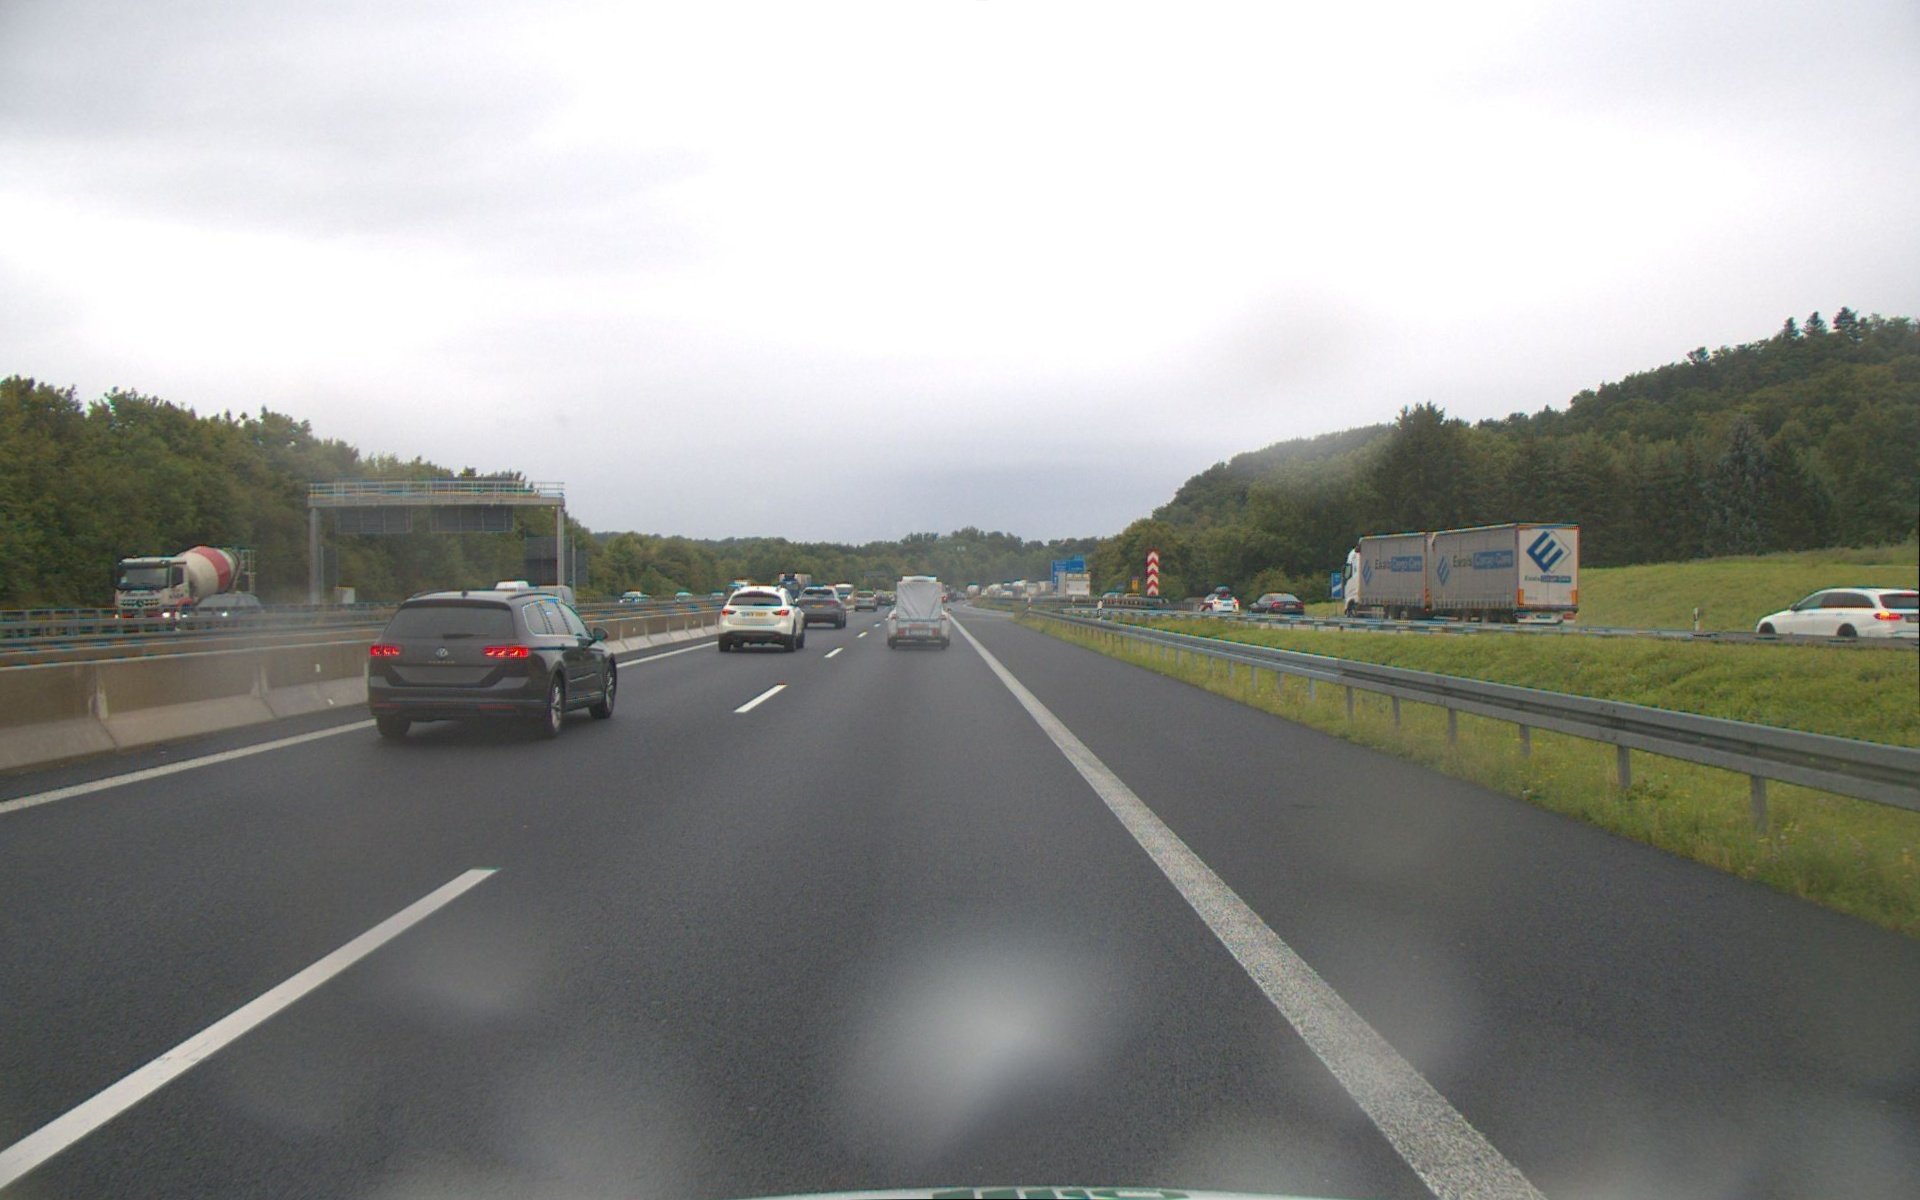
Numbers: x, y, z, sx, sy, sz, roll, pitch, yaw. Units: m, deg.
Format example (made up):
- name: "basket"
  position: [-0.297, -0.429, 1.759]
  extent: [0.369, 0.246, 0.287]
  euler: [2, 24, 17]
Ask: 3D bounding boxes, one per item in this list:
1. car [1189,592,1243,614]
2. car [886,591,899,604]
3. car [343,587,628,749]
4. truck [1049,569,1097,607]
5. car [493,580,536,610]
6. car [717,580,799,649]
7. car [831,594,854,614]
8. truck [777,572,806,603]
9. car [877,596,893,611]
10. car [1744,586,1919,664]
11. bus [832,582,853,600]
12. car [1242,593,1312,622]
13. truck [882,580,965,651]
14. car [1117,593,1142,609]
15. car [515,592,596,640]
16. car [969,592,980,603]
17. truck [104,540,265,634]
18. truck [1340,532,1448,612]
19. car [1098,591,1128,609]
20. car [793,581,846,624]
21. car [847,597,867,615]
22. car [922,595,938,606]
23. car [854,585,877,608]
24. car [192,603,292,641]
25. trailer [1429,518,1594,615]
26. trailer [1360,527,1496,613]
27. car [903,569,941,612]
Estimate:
- name: "car"
  position: [16.413, 0.182, 106.220]
  extent: [1.949, 1.401, 5.068]
  euler: [0, 0, -9]
- name: "car"
  position: [-8.724, -0.292, 213.736]
  extent: [1.612, 1.601, 3.999]
  euler: [1, 0, -1]
- name: "car"
  position: [-4.886, 0.624, 17.769]
  extent: [1.751, 1.484, 4.801]
  euler: [1, 0, -1]
- name: "truck"
  position: [11.688, -1.209, 171.779]
  extent: [3.750, 3.723, 8.264]
  euler: [1, 0, -5]
- name: "car"
  position: [-34.672, -0.406, 128.879]
  extent: [1.953, 2.252, 5.714]
  euler: [0, 0, -2]
- name: "car"
  position: [-5.225, 0.348, 43.216]
  extent: [2.009, 1.700, 4.535]
  euler: [1, 0, -6]
- name: "car"
  position: [-10.299, 0.359, 145.082]
  extent: [1.782, 1.691, 4.016]
  euler: [0, 0, -1]
- name: "truck"
  position: [-20.699, -1.509, 203.549]
  extent: [2.752, 3.586, 10.637]
  euler: [1, 0, -2]
- name: "car"
  position: [-7.982, 0.349, 176.054]
  extent: [1.612, 1.601, 3.999]
  euler: [1, 0, -1]
- name: "car"
  position: [20.164, 0.525, 37.463]
  extent: [1.956, 1.645, 5.071]
  euler: [0, 0, -7]
- name: "bus"
  position: [-17.367, -1.291, 244.663]
  extent: [2.489, 2.631, 8.269]
  euler: [1, 0, -1]
- name: "car"
  position: [15.705, 0.348, 82.127]
  extent: [1.948, 1.401, 5.312]
  euler: [1, 0, -6]
- name: "truck"
  position: [-1.074, 0.393, 47.334]
  extent: [2.197, 1.871, 6.582]
  euler: [1, 0, -2]
- name: "car"
  position: [14.092, 0.108, 137.639]
  extent: [1.662, 1.311, 3.534]
  euler: [1, 0, -1]
- name: "car"
  position: [-15.091, 0.553, 61.919]
  extent: [1.953, 1.679, 5.024]
  euler: [1, 0, -2]
- name: "car"
  position: [2.166, -0.373, 250.243]
  extent: [1.612, 1.601, 3.999]
  euler: [1, 0, -1]
- name: "truck"
  position: [-33.015, -0.554, 70.897]
  extent: [2.631, 3.725, 9.554]
  euler: [0, 0, -2]
- name: "truck"
  position: [20.457, -1.278, 78.306]
  extent: [2.882, 3.588, 5.918]
  euler: [1, 0, -7]
- name: "car"
  position: [11.389, 0.002, 123.660]
  extent: [1.510, 1.311, 3.529]
  euler: [1, 0, -7]
- name: "car"
  position: [-5.930, 0.058, 70.219]
  extent: [1.936, 1.733, 4.801]
  euler: [1, 1, -2]
- name: "car"
  position: [-9.946, 0.582, 159.645]
  extent: [1.782, 1.691, 4.016]
  euler: [0, 0, -1]
- name: "car"
  position: [-4.448, 0.009, 245.515]
  extent: [1.955, 1.579, 3.995]
  euler: [1, 0, -6]
- name: "car"
  position: [-7.658, -0.290, 134.770]
  extent: [1.703, 1.825, 3.999]
  euler: [1, 0, -1]
- name: "car"
  position: [-28.302, 0.844, 65.344]
  extent: [1.953, 1.431, 4.675]
  euler: [0, 0, -1]
- name: "trailer"
  position: [21.900, -1.272, 66.246]
  extent: [3.020, 3.588, 8.071]
  euler: [1, 0, -8]
- name: "trailer"
  position: [20.897, -1.297, 74.438]
  extent: [2.882, 3.588, 8.407]
  euler: [1, 0, -7]
- name: "car"
  position: [-2.584, -0.655, 110.926]
  extent: [2.285, 2.773, 6.536]
  euler: [0, 1, -3]
